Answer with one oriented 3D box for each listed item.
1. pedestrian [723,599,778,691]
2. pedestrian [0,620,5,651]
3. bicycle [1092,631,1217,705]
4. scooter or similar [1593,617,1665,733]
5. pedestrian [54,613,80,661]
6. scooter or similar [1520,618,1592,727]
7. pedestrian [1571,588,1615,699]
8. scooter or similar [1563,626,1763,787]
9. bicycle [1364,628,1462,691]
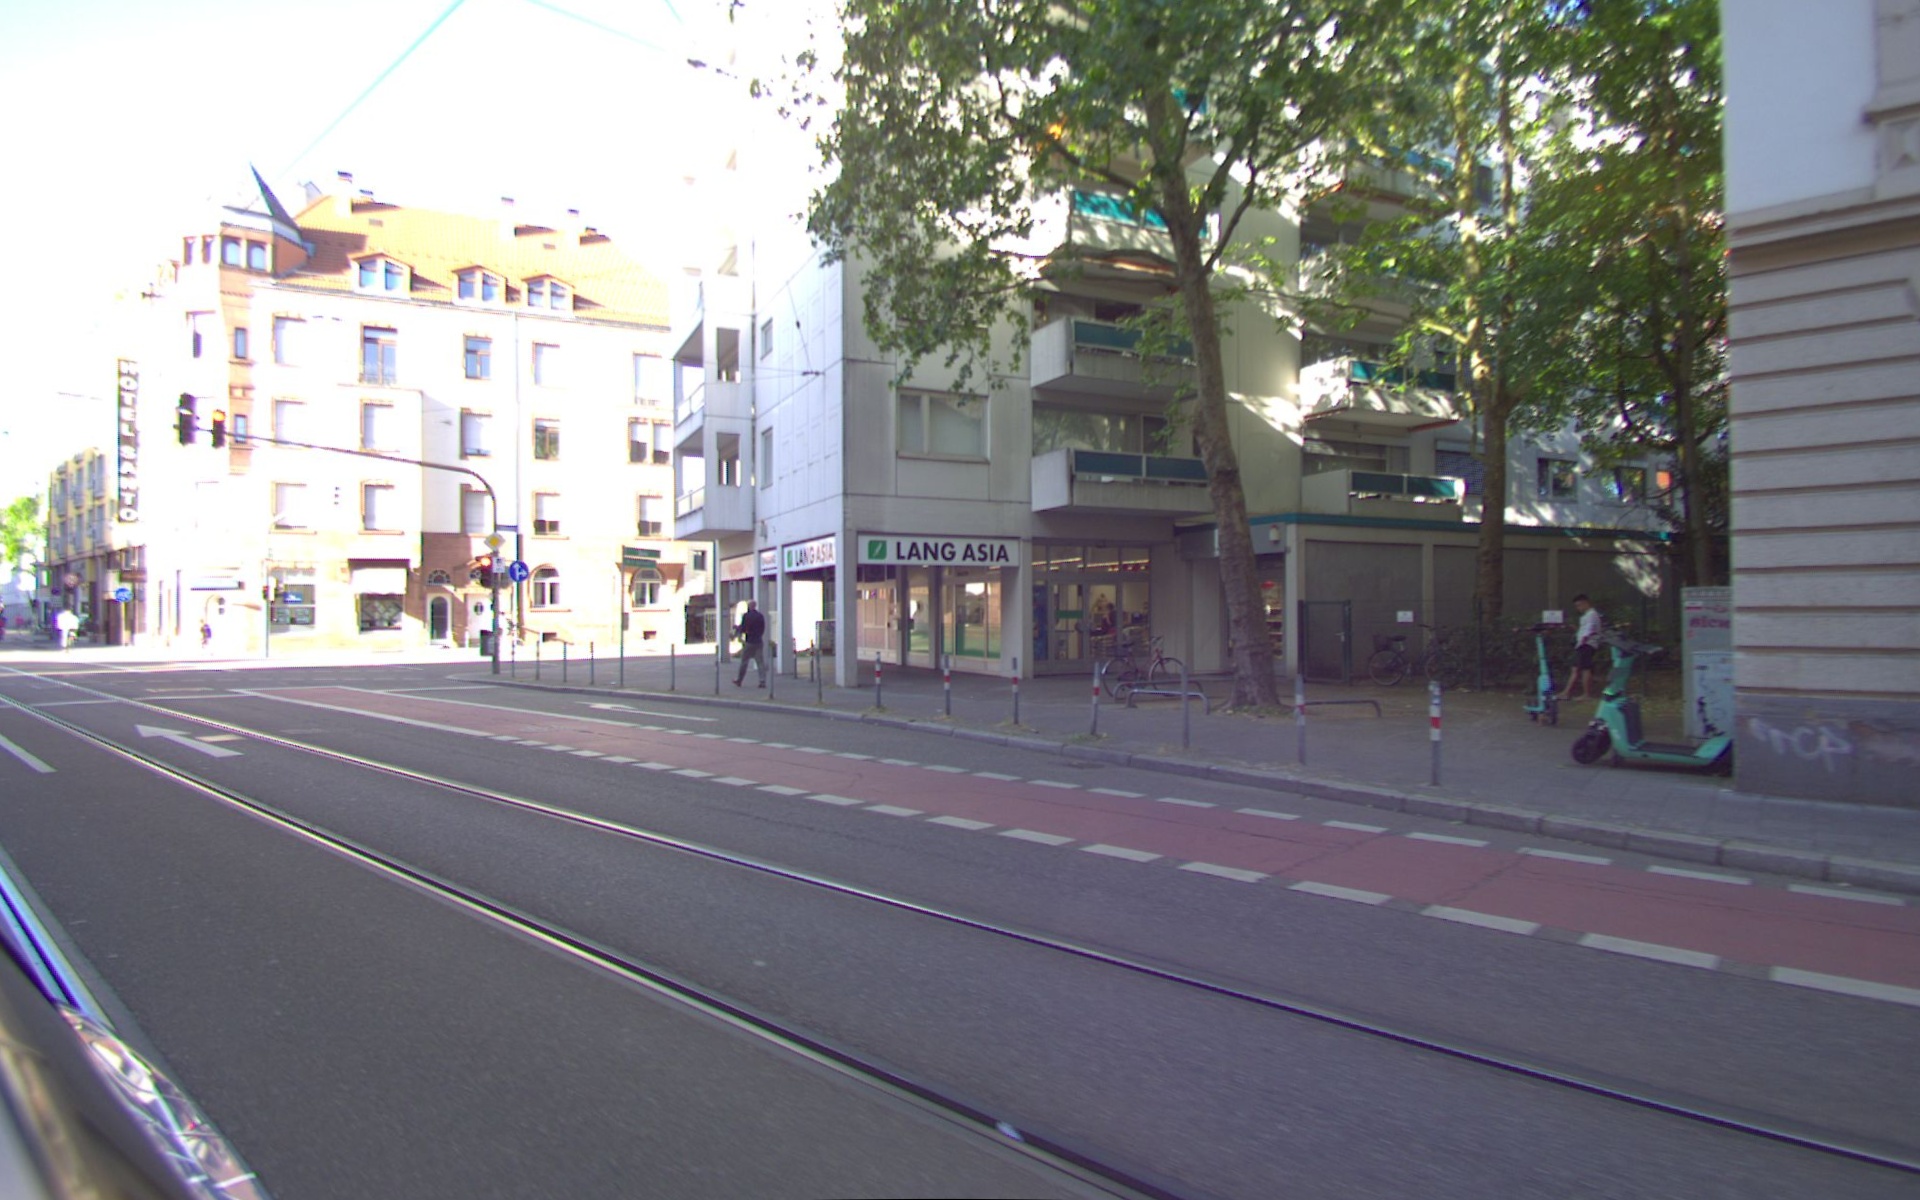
[{"bbox_3d":[-4.367,0.916,21.076,0.810,1.861,0.784,-1,0,44],"label":"pedestrian"},{"bbox_3d":[-64.645,2.379,67.907,0.718,2.029,0.746,-1,0,41],"label":"pedestrian"},{"bbox_3d":[3.320,1.134,17.254,2.012,1.134,0.708,-1,0,-21],"label":"bicycle"},{"bbox_3d":[7.784,0.835,11.756,0.481,1.239,1.364,-1,0,43],"label":"scooter or similar"},{"bbox_3d":[-38.211,1.564,43.311,0.718,2.029,0.746,-1,0,41],"label":"pedestrian"},{"bbox_3d":[7.352,0.851,12.462,0.481,1.239,1.364,-1,0,43],"label":"scooter or similar"},{"bbox_3d":[9.972,0.675,15.948,0.394,1.719,0.484,-1,0,-43],"label":"pedestrian"},{"bbox_3d":[6.146,0.879,8.880,1.382,1.284,0.572,-1,0,41],"label":"scooter or similar"},{"bbox_3d":[8.537,1.096,19.120,0.502,1.102,1.625,-1,0,-37],"label":"bicycle"}]
